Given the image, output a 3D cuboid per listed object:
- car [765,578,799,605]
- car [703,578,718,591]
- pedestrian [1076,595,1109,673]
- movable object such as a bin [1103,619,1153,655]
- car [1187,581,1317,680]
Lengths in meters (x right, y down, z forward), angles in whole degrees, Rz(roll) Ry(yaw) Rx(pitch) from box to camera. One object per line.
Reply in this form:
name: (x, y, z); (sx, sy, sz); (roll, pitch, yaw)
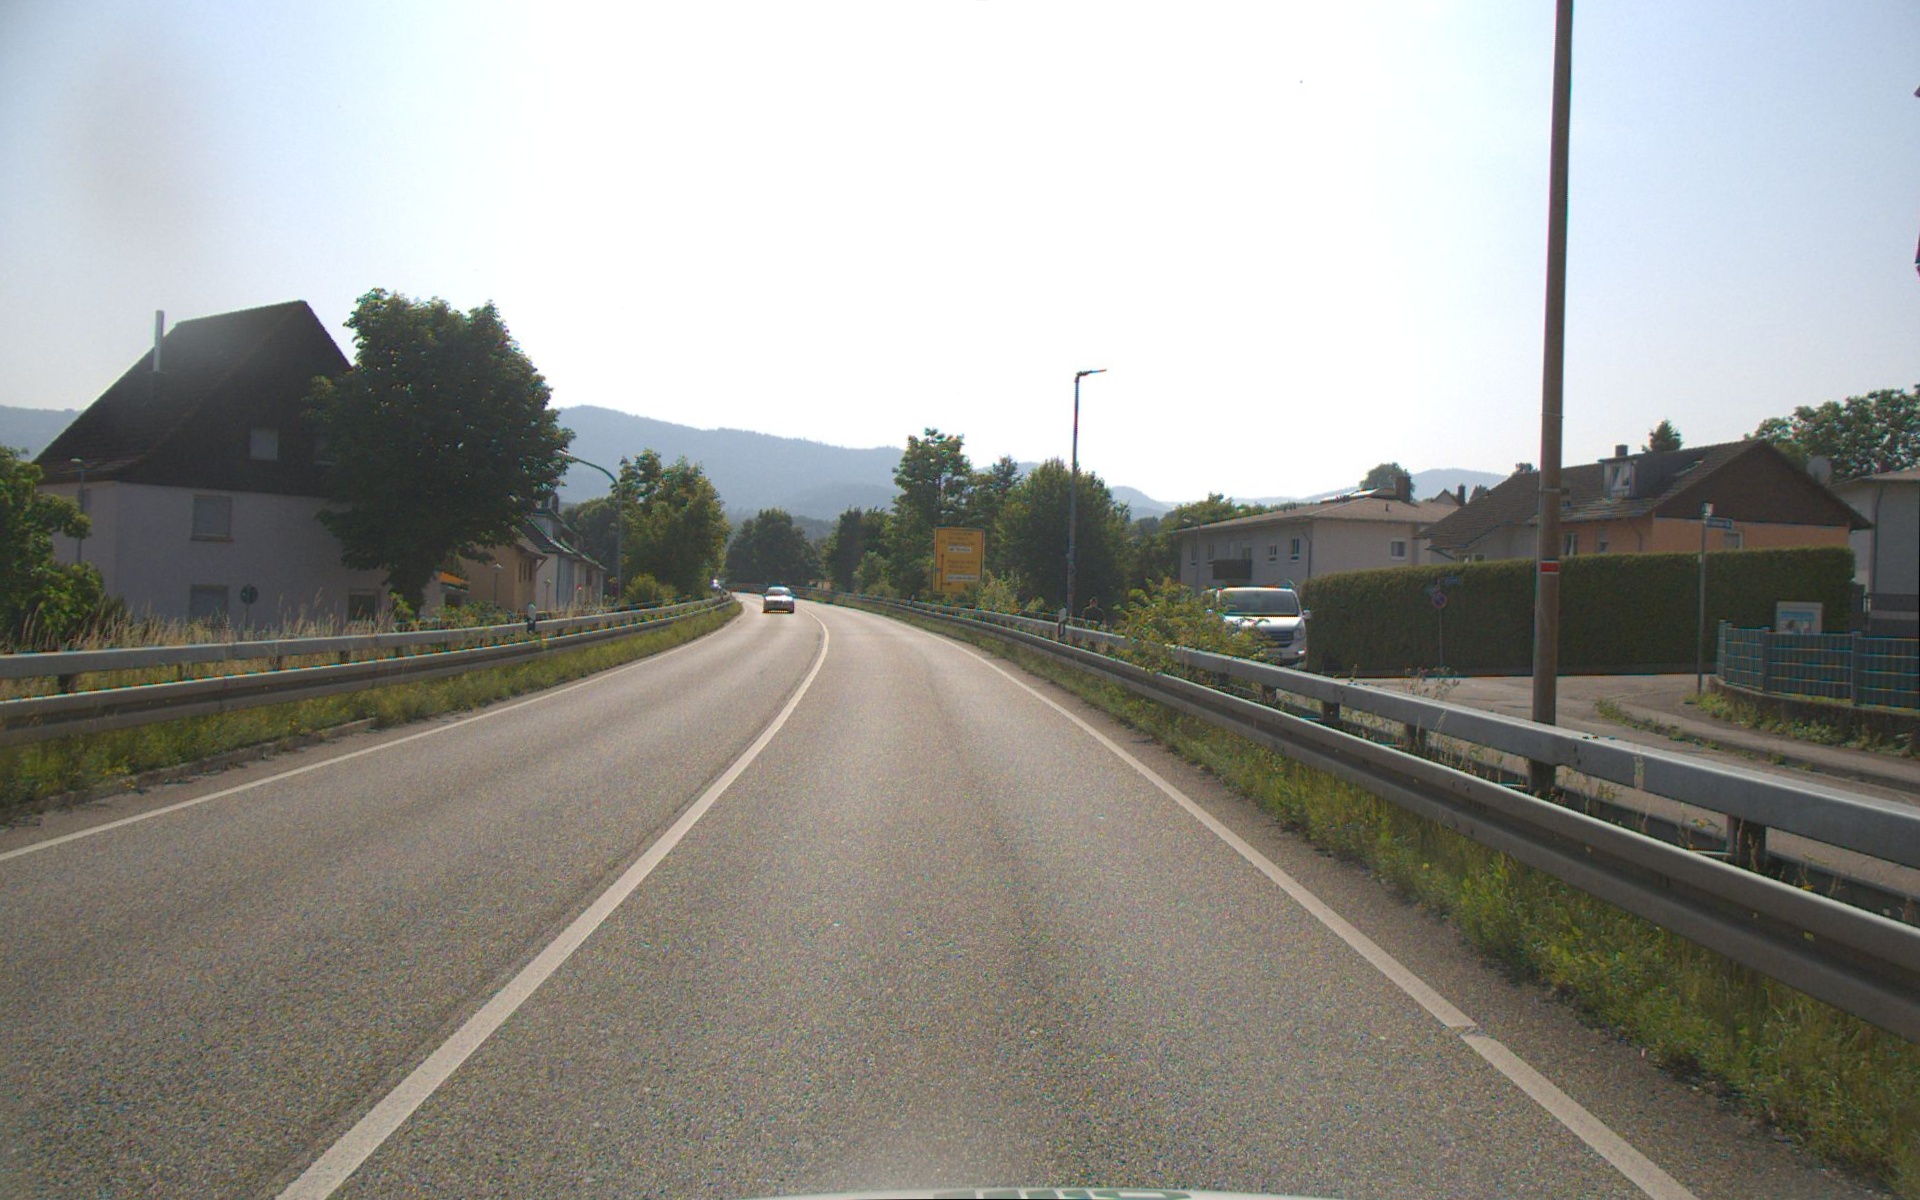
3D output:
car: (-9.980, -0.480, 92.891); (1.723, 1.435, 3.986); (-1, 0, -4)
car: (-31.266, -1.977, 207.435); (1.774, 1.588, 3.985); (-1, 0, -8)
pedestrian: (3.545, 0.903, 44.343); (0.772, 2.049, 0.997); (1, 0, -1)
movable object such as a bin: (10.394, 2.258, 102.289); (2.730, 2.049, 1.585); (3, 0, -7)
car: (6.289, 0.585, 36.222); (1.952, 1.979, 5.362); (1, 1, 1)
